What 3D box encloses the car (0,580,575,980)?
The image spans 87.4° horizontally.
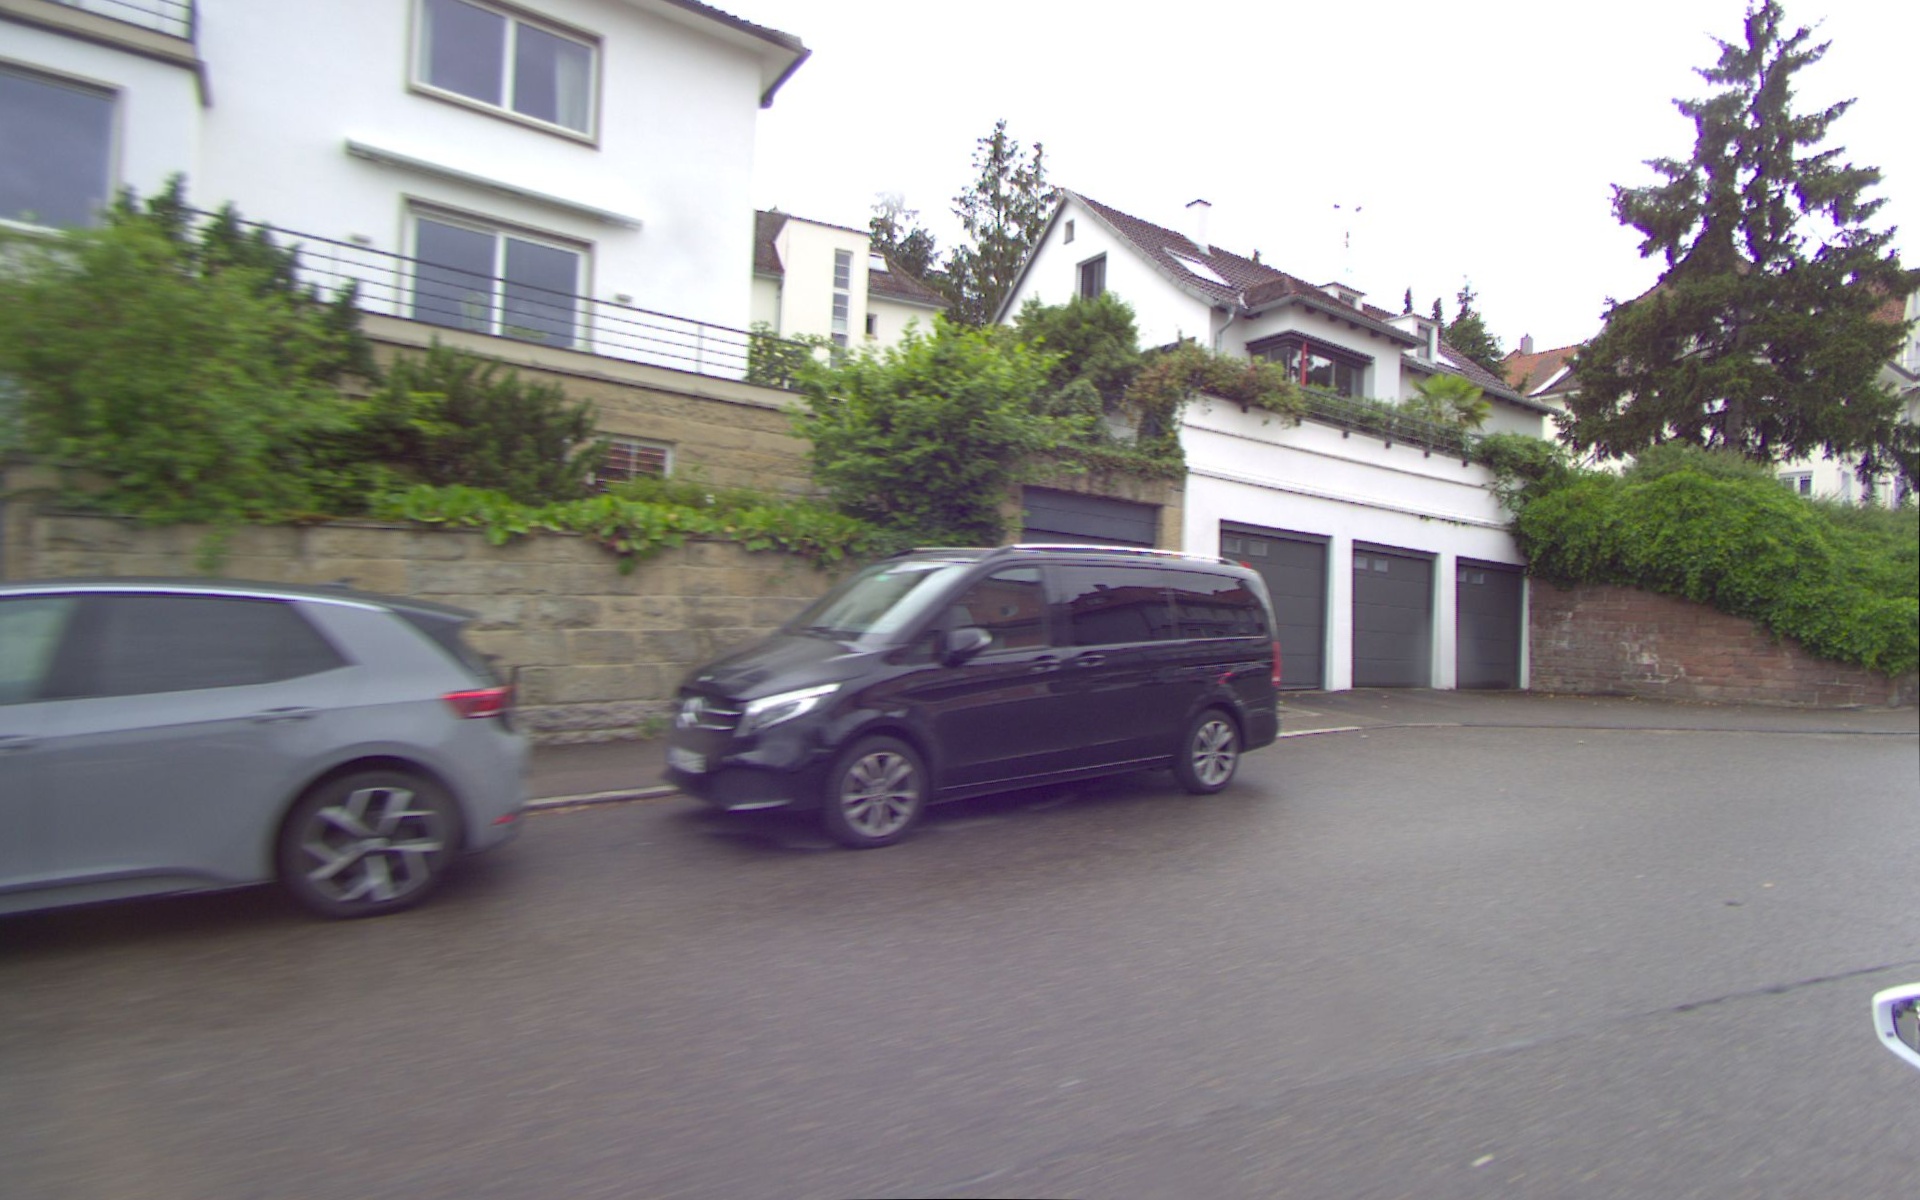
[{"bbox_3d":[-4.218,0.684,4.653,4.293,1.535,1.888,1,1,-32],"label":"car"}]

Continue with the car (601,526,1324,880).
[{"bbox_3d":[0.316,0.570,7.886,5.542,1.885,2.113,1,0,-37],"label":"car"}]
